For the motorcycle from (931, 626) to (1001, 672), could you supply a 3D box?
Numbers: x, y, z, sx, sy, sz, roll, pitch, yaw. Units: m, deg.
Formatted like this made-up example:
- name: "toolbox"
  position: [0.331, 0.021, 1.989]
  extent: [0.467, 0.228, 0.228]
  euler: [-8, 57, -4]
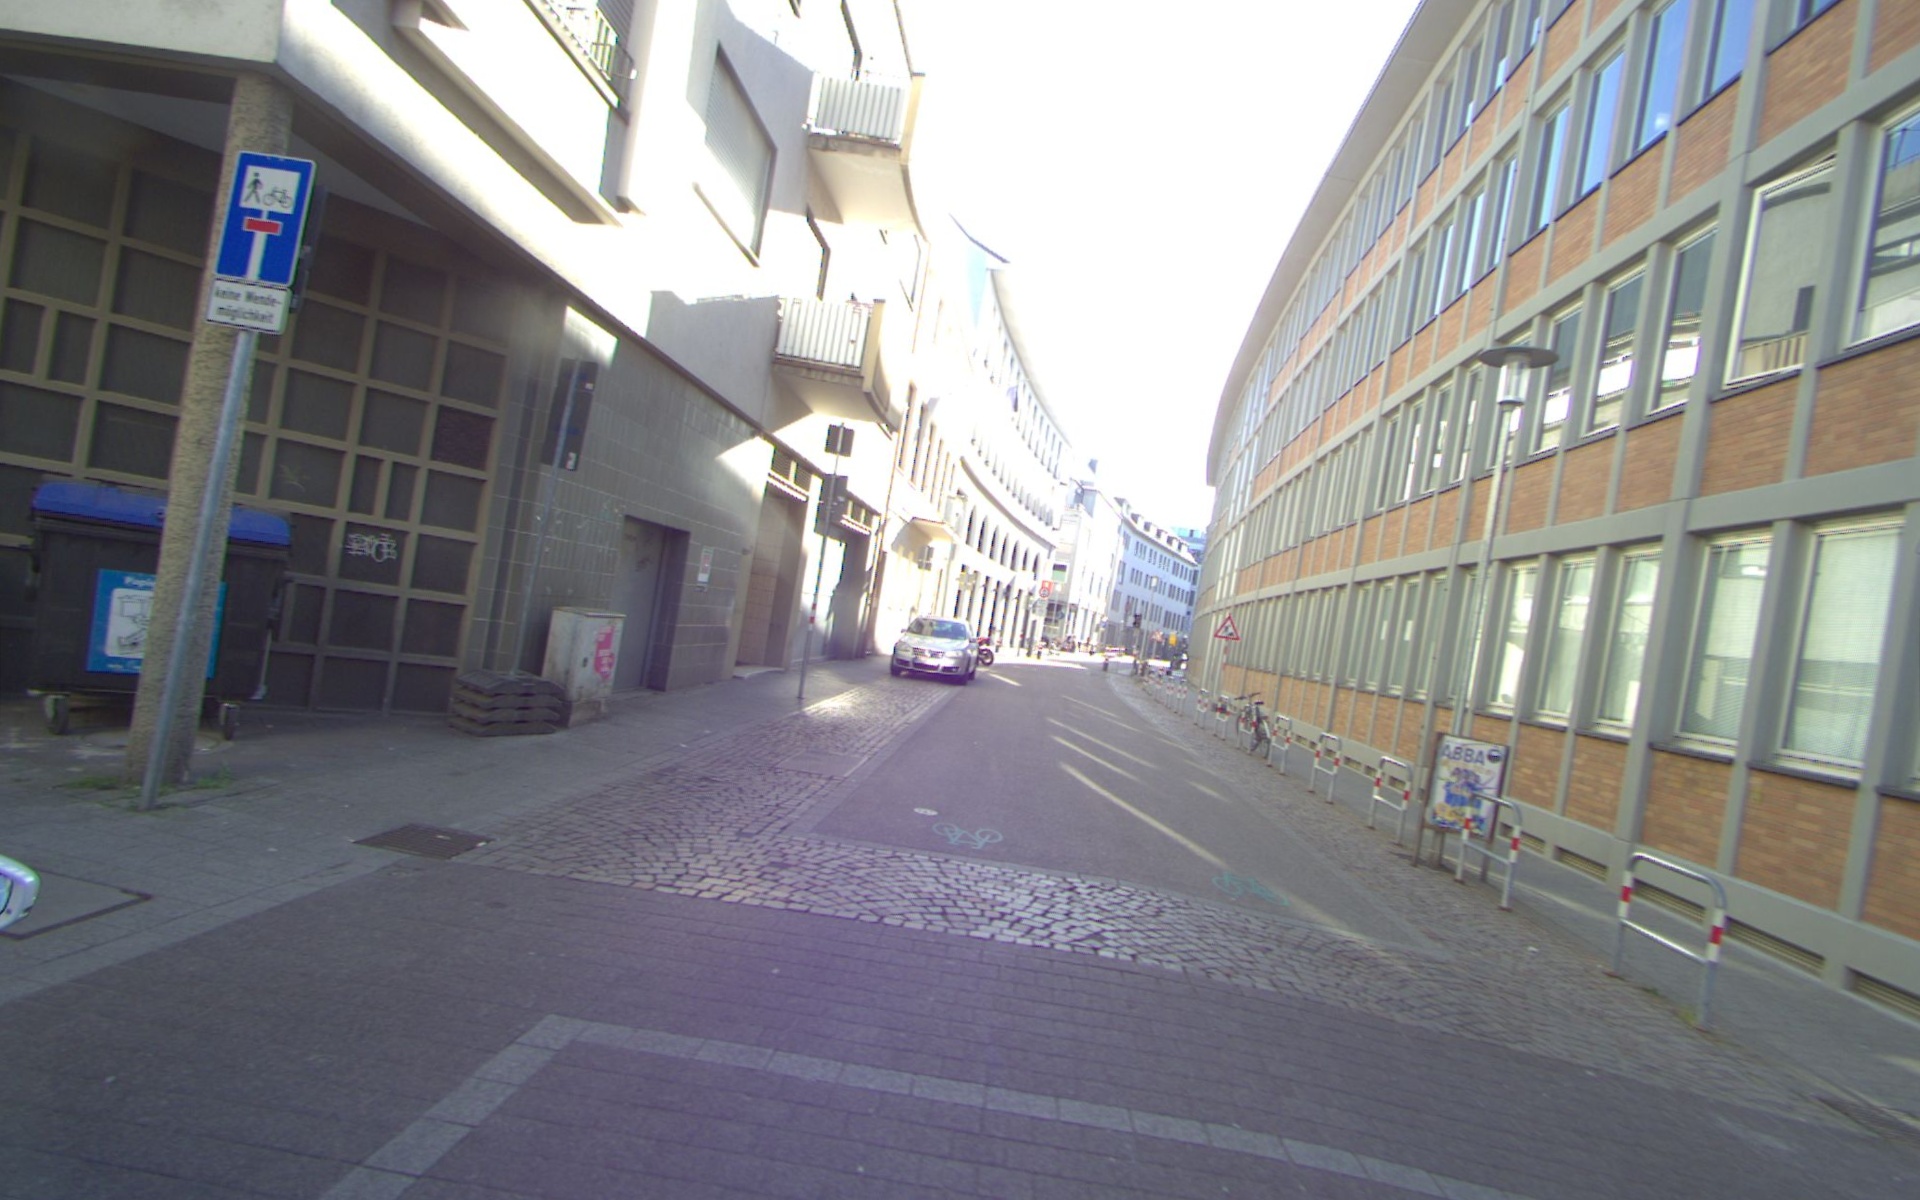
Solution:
- name: "motorcycle"
  position: [0.198, 1.681, 34.752]
  extent: [2.249, 1.260, 0.574]
  euler: [8, 0, 25]

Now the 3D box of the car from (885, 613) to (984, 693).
- name: "car"
  position: [-0.500, 1.189, 23.496]
  extent: [1.737, 1.488, 3.816]
  euler: [8, -1, 5]

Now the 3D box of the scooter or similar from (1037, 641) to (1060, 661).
- name: "scooter or similar"
  position: [6.051, 3.475, 68.875]
  extent: [0.527, 1.211, 1.944]
  euler: [8, -2, -27]

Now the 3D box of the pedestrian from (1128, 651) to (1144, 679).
- name: "pedestrian"
  position: [9.766, 3.612, 55.826]
  extent: [0.647, 1.458, 0.596]
  euler: [9, 0, 7]

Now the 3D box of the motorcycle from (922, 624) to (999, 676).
- name: "motorcycle"
  position: [0.002, 1.535, 30.896]
  extent: [2.173, 1.260, 0.574]
  euler: [8, 0, 25]

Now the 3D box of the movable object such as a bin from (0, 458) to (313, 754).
- name: "movable object such as a bin"
  position: [-5.087, 0.038, 6.424]
  extent: [1.283, 1.608, 1.142]
  euler: [10, 1, -41]

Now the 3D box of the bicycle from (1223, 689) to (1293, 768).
- name: "bicycle"
  position: [5.286, 2.252, 17.964]
  extent: [0.626, 1.129, 1.932]
  euler: [9, -1, 4]
